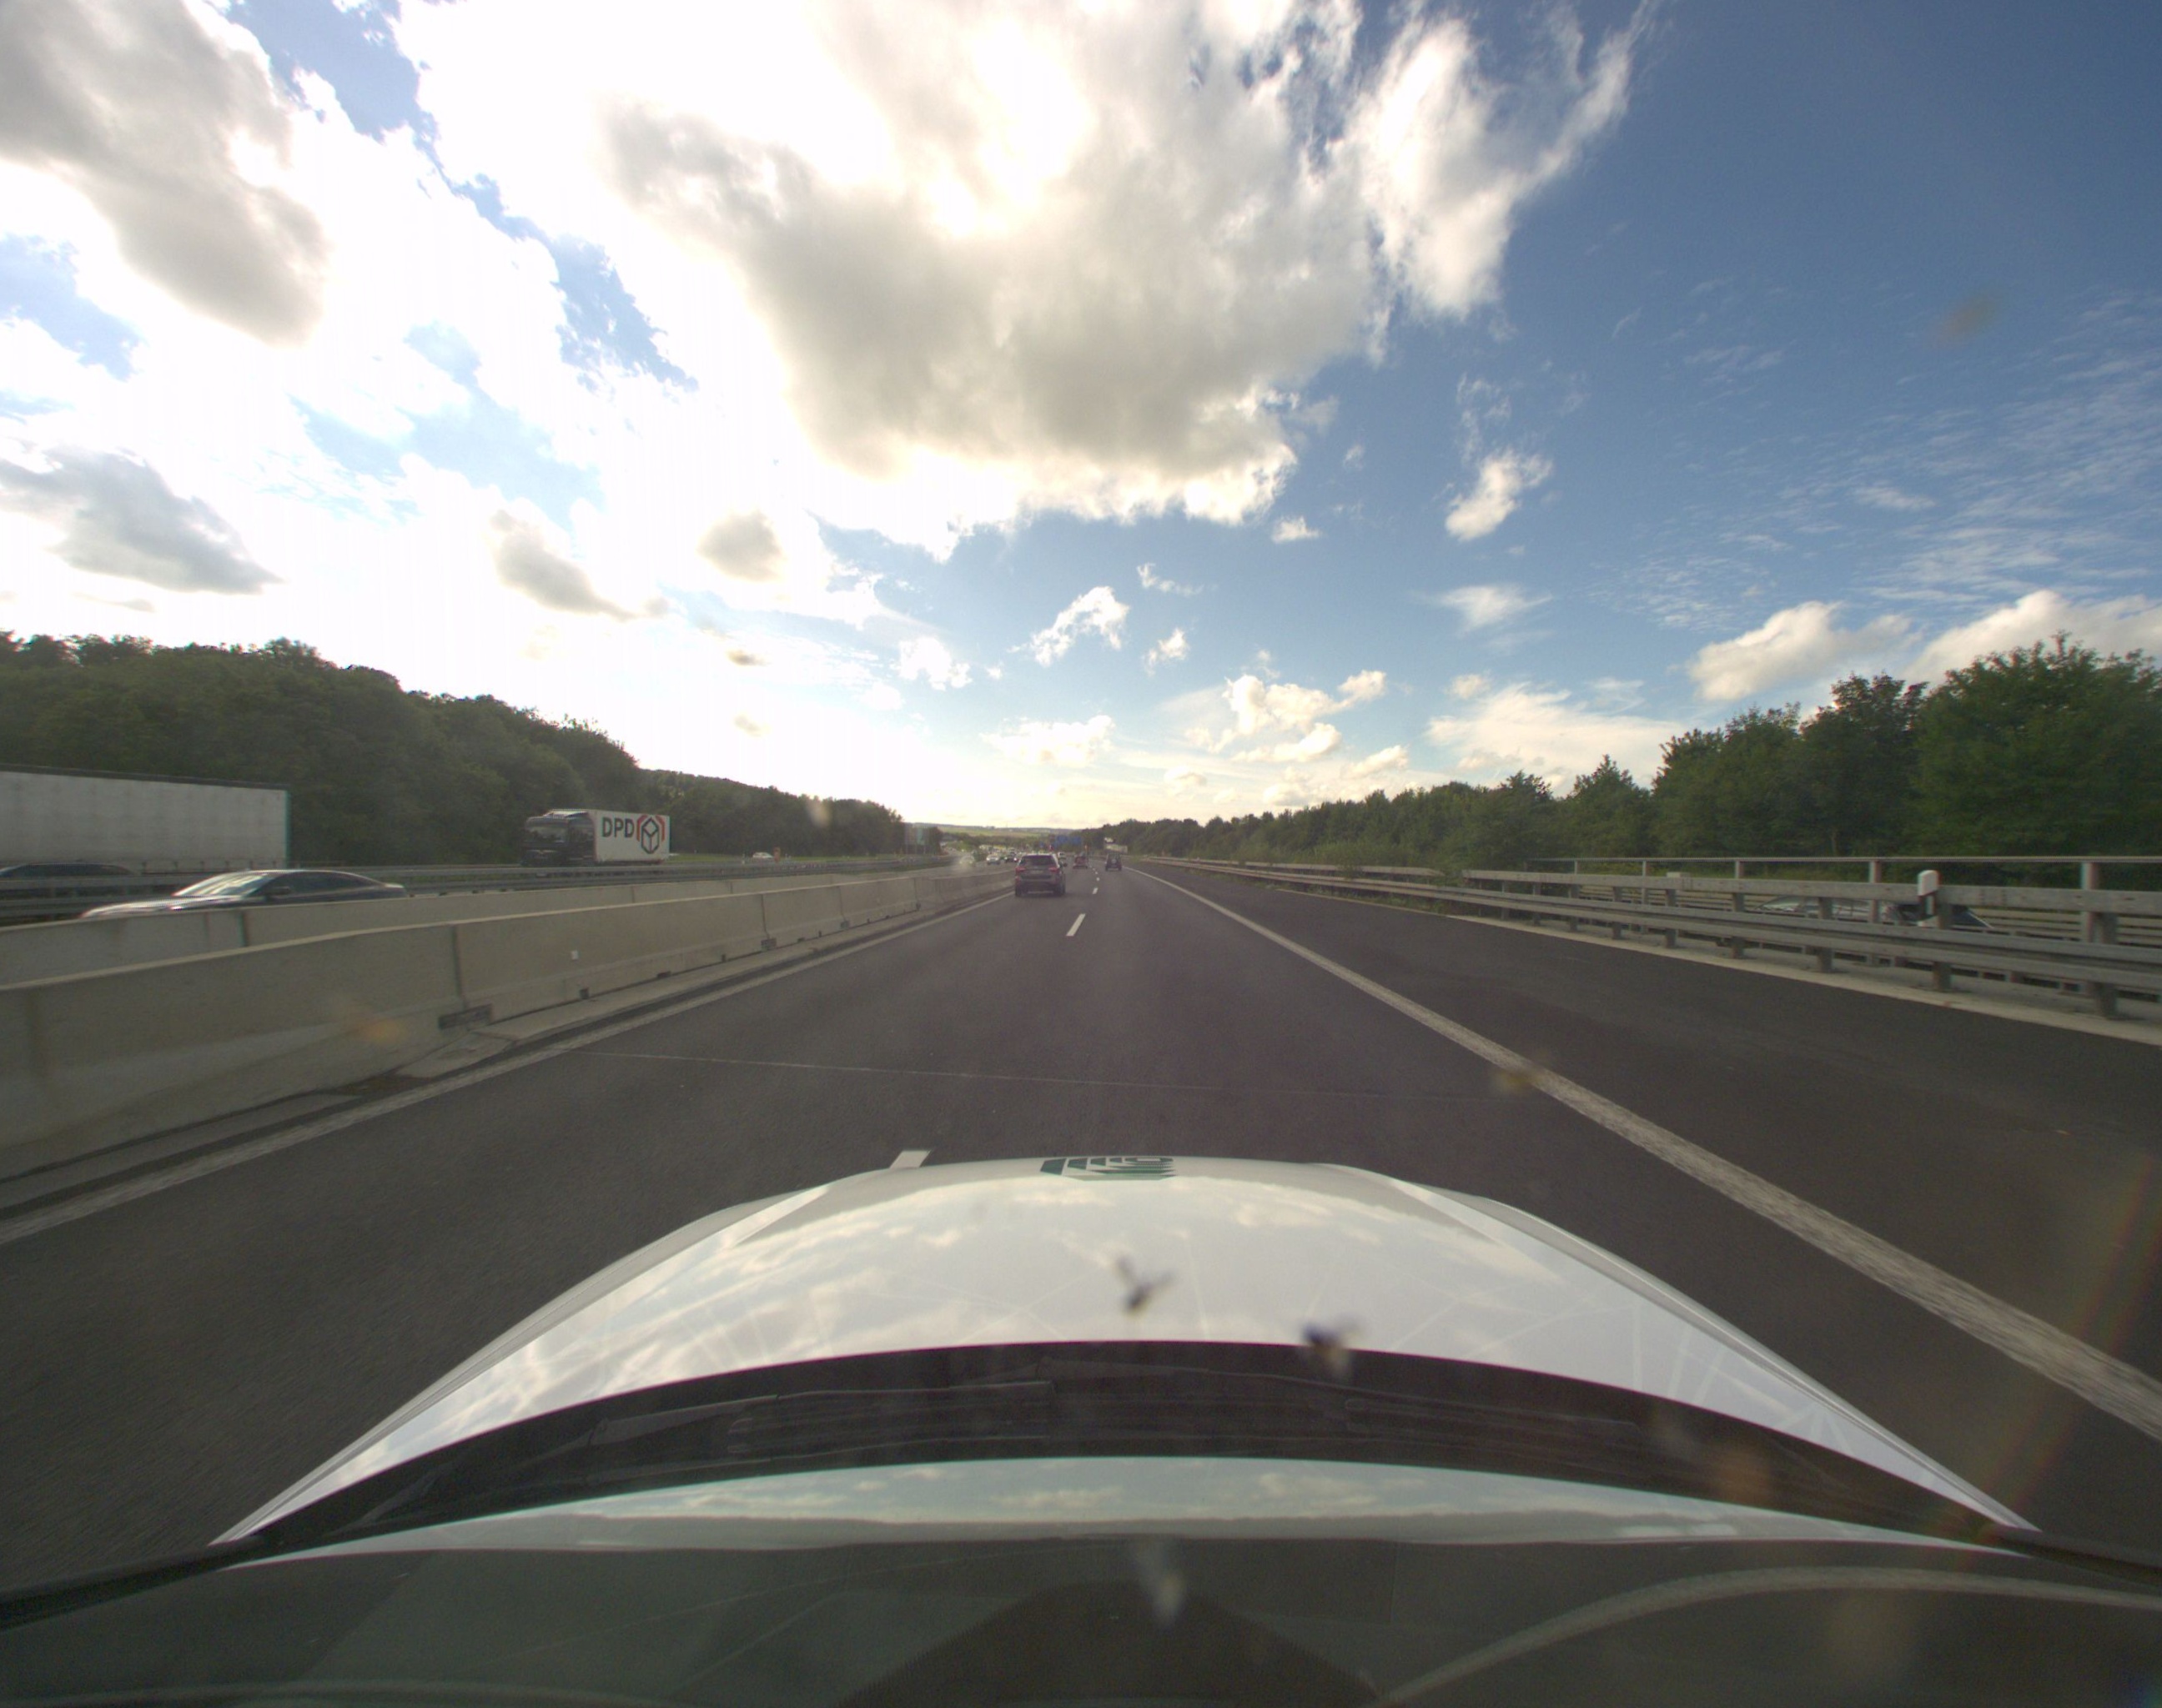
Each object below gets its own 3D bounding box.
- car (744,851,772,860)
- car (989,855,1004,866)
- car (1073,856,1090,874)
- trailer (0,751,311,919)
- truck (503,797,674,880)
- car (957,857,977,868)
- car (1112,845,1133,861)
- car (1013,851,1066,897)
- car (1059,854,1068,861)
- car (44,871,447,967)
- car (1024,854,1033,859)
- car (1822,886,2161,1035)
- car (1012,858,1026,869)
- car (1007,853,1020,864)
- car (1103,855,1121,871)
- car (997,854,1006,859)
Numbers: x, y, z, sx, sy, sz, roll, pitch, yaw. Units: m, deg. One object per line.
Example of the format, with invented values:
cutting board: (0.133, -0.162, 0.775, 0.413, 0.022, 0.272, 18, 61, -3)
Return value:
car: (-51.042, 0.174, 128.484, 4.565, 1.431, 1.799, 0, 0, 33)
car: (-13.421, 1.035, 129.812, 1.881, 1.610, 4.963, -1, 0, -2)
car: (0.044, 1.283, 96.660, 2.024, 2.151, 3.999, 0, 0, 0)
trailer: (-29.175, -0.435, 22.783, 3.308, 4.293, 12.145, 0, -1, 2)
truck: (-26.404, -0.622, 44.555, 2.892, 3.969, 10.462, 0, -1, 0)
car: (-15.046, 1.138, 107.512, 1.987, 1.402, 4.812, -1, 0, 0)
car: (12.204, -0.179, 240.876, 4.722, 4.266, 11.379, 0, -1, -6)
car: (-1.617, 0.795, 33.680, 1.811, 1.736, 5.187, 0, -1, 1)
car: (-4.280, 0.837, 199.518, 1.989, 1.684, 3.995, 0, -1, -3)
car: (-14.657, 1.046, 14.892, 1.867, 1.447, 5.126, 0, -1, 3)
car: (-12.587, 0.569, 196.170, 2.040, 1.337, 5.605, -1, 0, -1)
car: (13.429, 1.332, 11.691, 1.776, 1.571, 4.347, 0, 0, 3)
car: (-9.583, 1.474, 126.040, 1.880, 1.703, 4.965, -1, 0, 0)
car: (-11.754, 0.789, 142.599, 1.880, 1.785, 4.951, -1, 0, 0)
car: (3.082, 0.873, 81.217, 1.582, 1.597, 4.095, 0, 0, 0)
car: (-19.352, 0.607, 198.562, 1.863, 1.337, 4.227, -1, 0, -1)
